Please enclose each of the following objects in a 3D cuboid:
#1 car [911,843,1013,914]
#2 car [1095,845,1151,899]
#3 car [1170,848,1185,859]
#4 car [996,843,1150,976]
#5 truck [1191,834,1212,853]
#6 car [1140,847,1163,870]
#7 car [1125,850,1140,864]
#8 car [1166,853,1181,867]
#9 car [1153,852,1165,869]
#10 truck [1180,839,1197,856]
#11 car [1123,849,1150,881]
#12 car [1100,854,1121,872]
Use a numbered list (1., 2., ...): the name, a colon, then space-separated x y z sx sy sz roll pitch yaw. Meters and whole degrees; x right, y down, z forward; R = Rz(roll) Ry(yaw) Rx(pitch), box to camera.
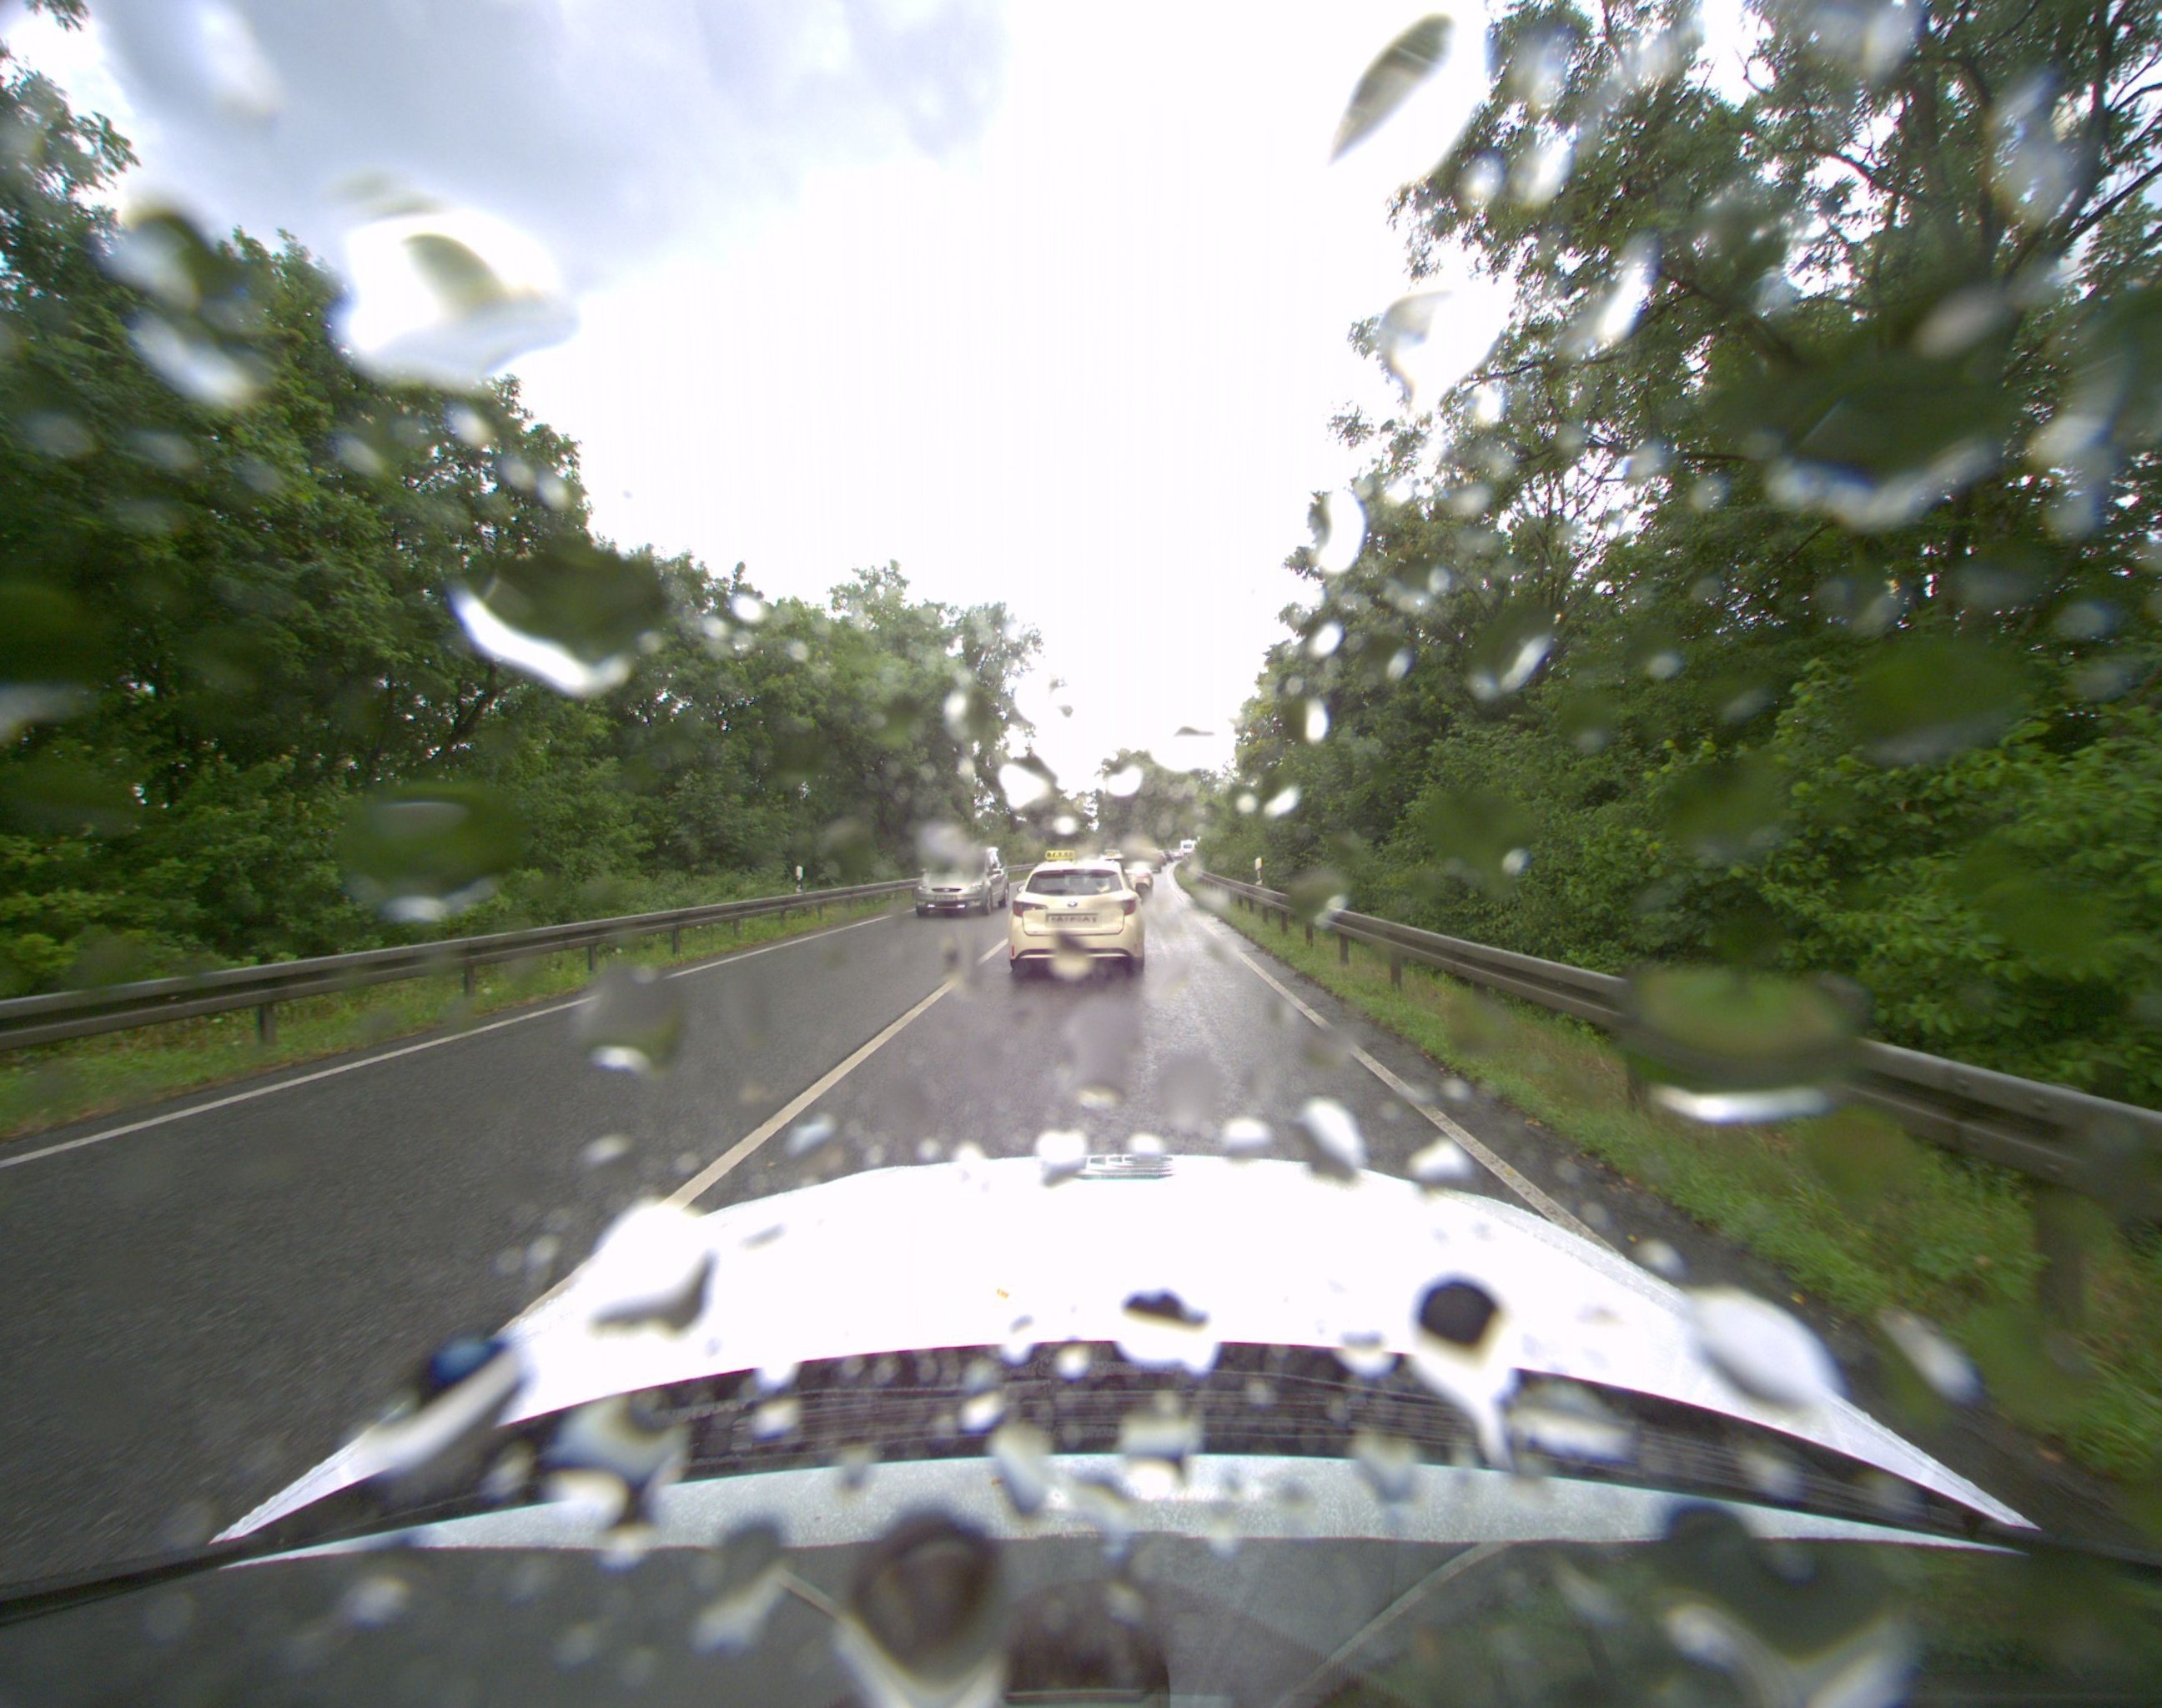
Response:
1. car: -3.034 0.616 21.705 1.808 1.686 4.625 0 -1 3
2. car: 1.415 0.564 26.101 1.660 1.580 3.897 -1 -1 5
3. car: 13.289 -0.041 112.366 1.758 1.547 3.825 -1 -1 11
4. car: 0.008 0.692 11.826 1.826 1.580 4.159 -1 -1 3
5. truck: 24.852 -2.080 167.411 3.083 3.680 7.031 -1 -1 17
6. car: 5.067 0.342 58.746 1.603 1.547 3.818 -1 -1 5
7. car: 7.452 0.411 117.758 1.984 2.014 4.005 -1 -1 4
8. car: 10.590 0.673 93.236 1.608 1.613 3.627 -1 -1 6
9. car: 7.523 0.632 78.439 1.161 1.547 2.607 -1 -1 5
10. truck: 18.112 -1.101 137.209 2.537 2.713 7.546 -1 -1 5
11. car: 2.808 0.573 41.397 1.295 1.547 3.263 -1 -1 3
12. car: 2.679 0.783 73.878 1.799 1.532 4.210 -1 0 3
